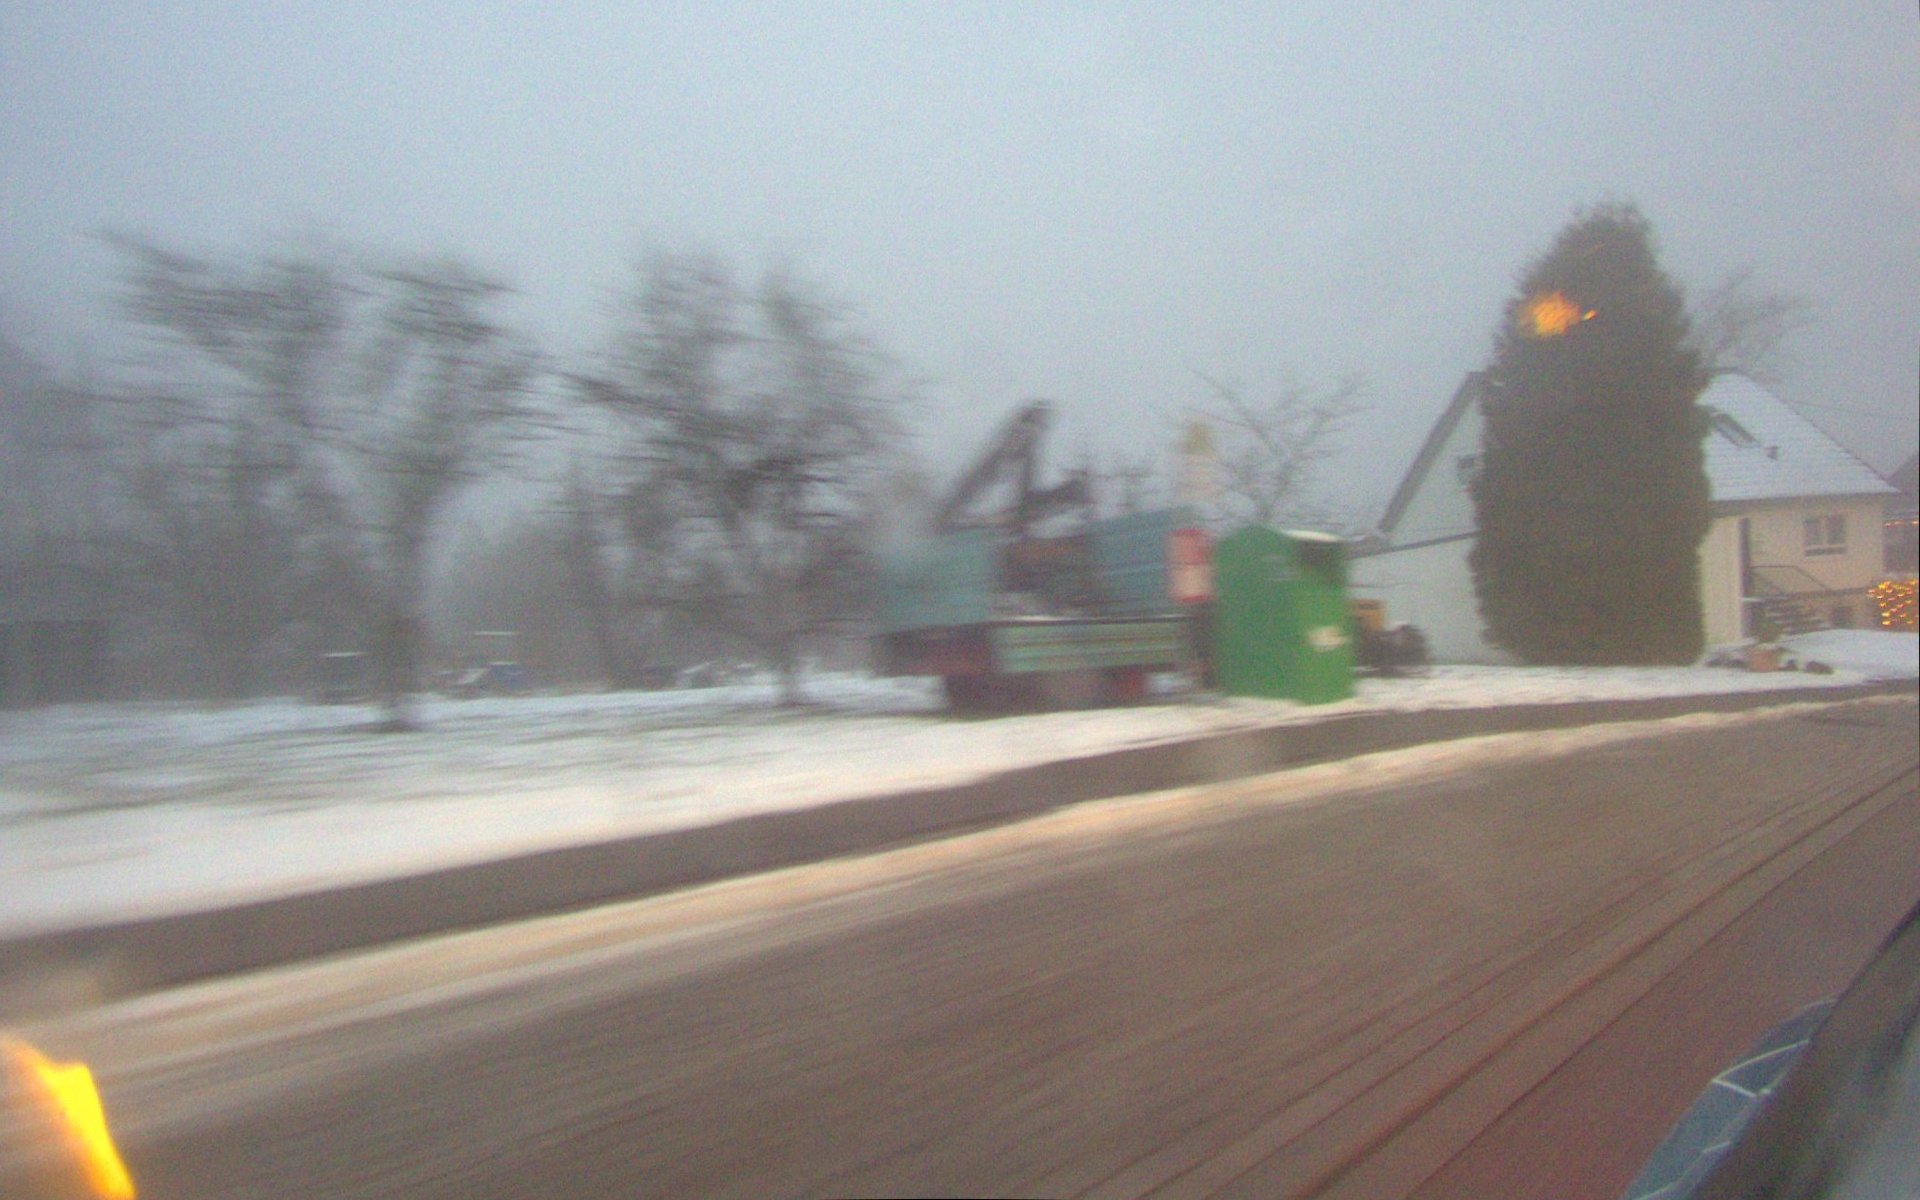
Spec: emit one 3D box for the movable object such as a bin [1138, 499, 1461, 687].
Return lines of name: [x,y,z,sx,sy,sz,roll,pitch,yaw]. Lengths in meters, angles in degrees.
movable object such as a bin: [5.247,-0.146,15.602,4.426,2.499,2.397,-1,1,-30]

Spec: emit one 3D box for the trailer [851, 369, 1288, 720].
trailer: [1.490,-0.628,13.070,4.969,3.605,2.883,-1,1,-37]
